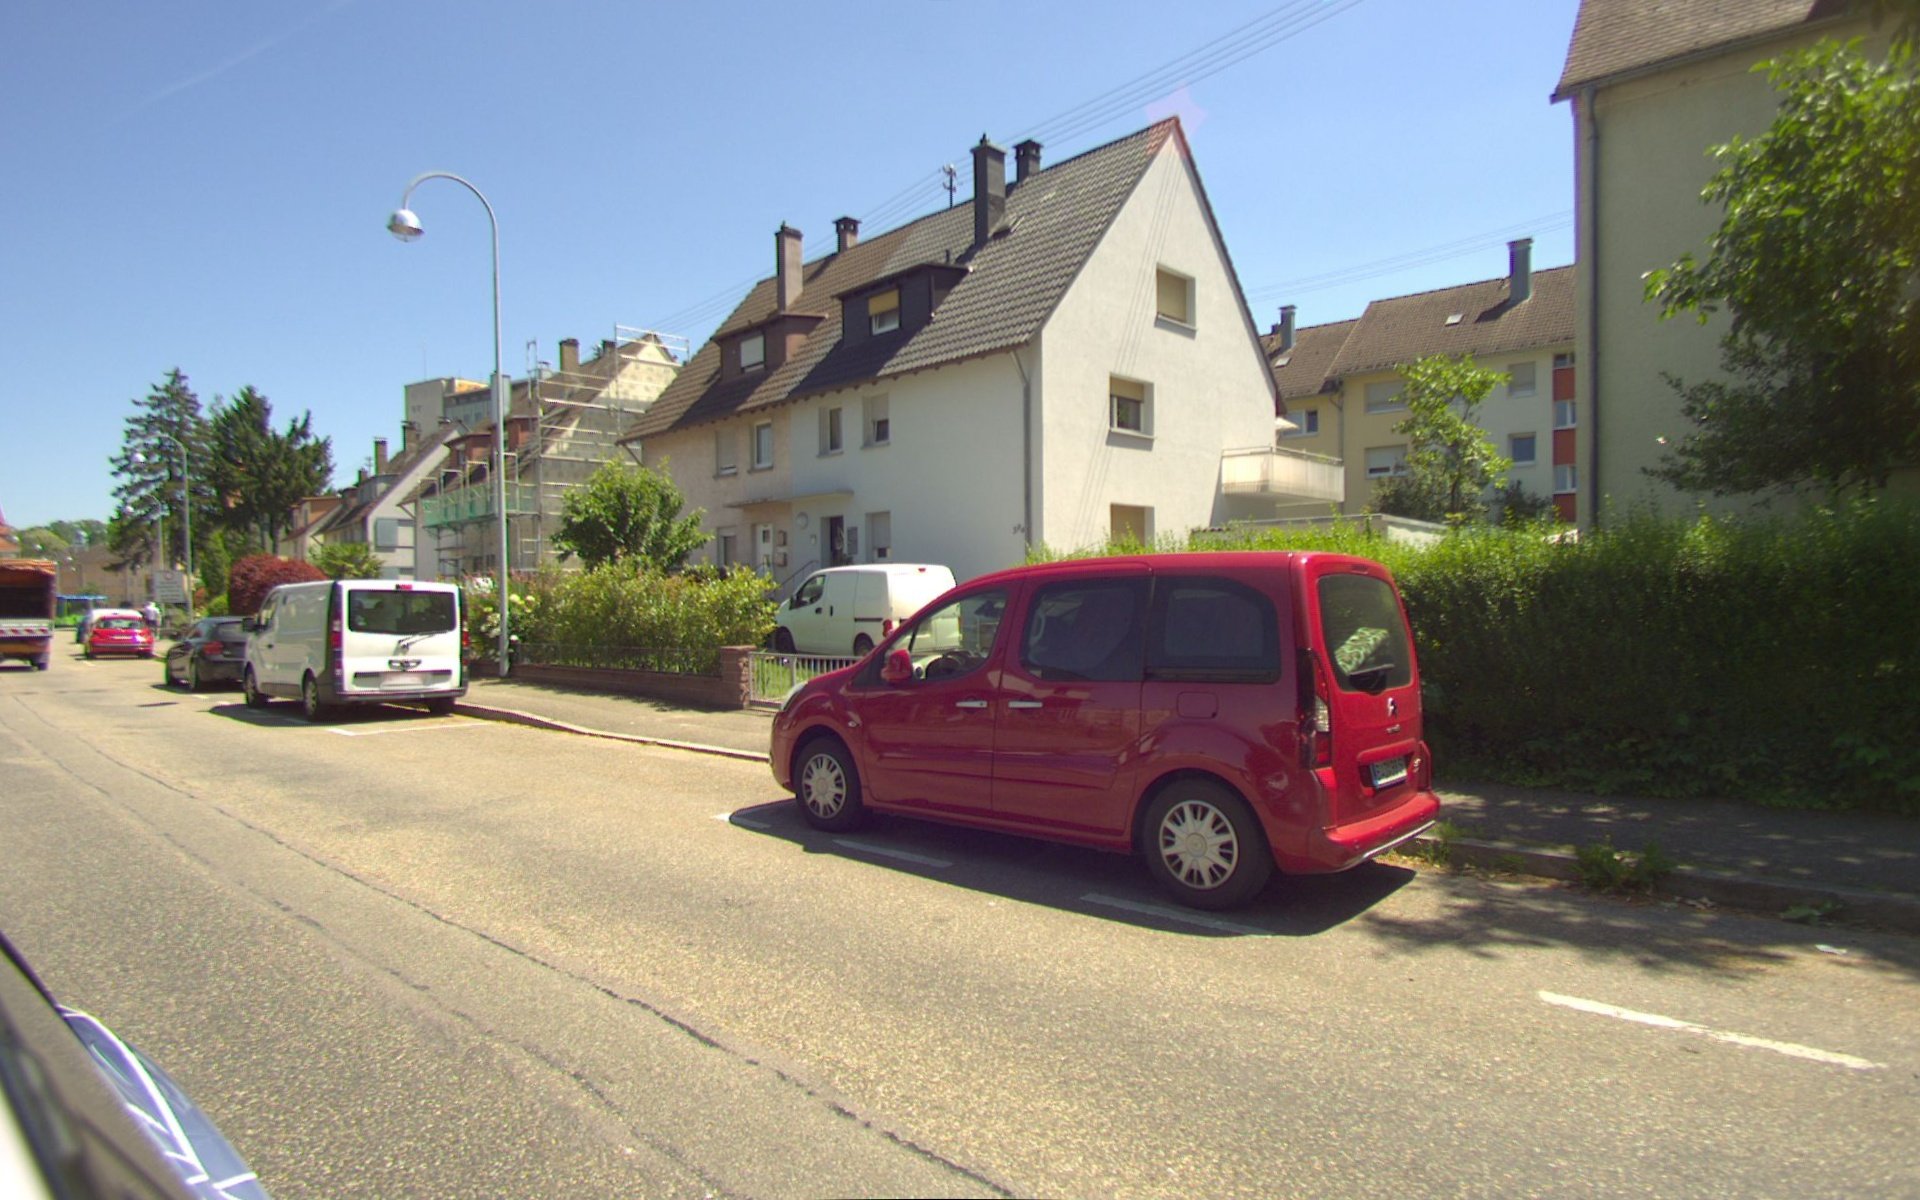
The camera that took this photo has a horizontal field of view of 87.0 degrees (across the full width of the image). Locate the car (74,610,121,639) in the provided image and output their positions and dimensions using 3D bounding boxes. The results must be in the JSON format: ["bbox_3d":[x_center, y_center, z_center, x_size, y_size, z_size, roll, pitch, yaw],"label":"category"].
[{"bbox_3d":[-44.793,1.263,52.604,1.747,1.450,4.369,1,-2,-40],"label":"car"}]

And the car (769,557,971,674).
[{"bbox_3d":[-1.759,0.238,18.633,1.693,1.884,4.007,-3,2,-39],"label":"car"}]

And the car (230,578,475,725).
[{"bbox_3d":[-9.366,0.706,15.393,4.980,1.895,1.866,-1,-1,42],"label":"car"}]

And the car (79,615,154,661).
[{"bbox_3d":[-28.956,1.285,34.711,1.739,1.489,4.062,2,-2,-43],"label":"car"}]

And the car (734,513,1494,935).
[{"bbox_3d":[0.658,0.560,6.316,4.455,1.740,1.739,-1,-2,41],"label":"car"}]

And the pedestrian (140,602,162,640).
[{"bbox_3d":[-42.431,1.100,53.099,0.680,1.903,1.021,-7,4,-36],"label":"pedestrian"}]

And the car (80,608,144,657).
[{"bbox_3d":[-32.401,1.225,38.616,1.702,1.749,3.891,2,-2,-42],"label":"car"}]

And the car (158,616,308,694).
[{"bbox_3d":[-14.683,1.051,20.363,4.236,1.395,1.680,-1,-2,44],"label":"car"}]

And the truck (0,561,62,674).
[{"bbox_3d":[-26.266,0.468,27.509,5.660,2.851,2.347,-1,-1,44],"label":"truck"}]
